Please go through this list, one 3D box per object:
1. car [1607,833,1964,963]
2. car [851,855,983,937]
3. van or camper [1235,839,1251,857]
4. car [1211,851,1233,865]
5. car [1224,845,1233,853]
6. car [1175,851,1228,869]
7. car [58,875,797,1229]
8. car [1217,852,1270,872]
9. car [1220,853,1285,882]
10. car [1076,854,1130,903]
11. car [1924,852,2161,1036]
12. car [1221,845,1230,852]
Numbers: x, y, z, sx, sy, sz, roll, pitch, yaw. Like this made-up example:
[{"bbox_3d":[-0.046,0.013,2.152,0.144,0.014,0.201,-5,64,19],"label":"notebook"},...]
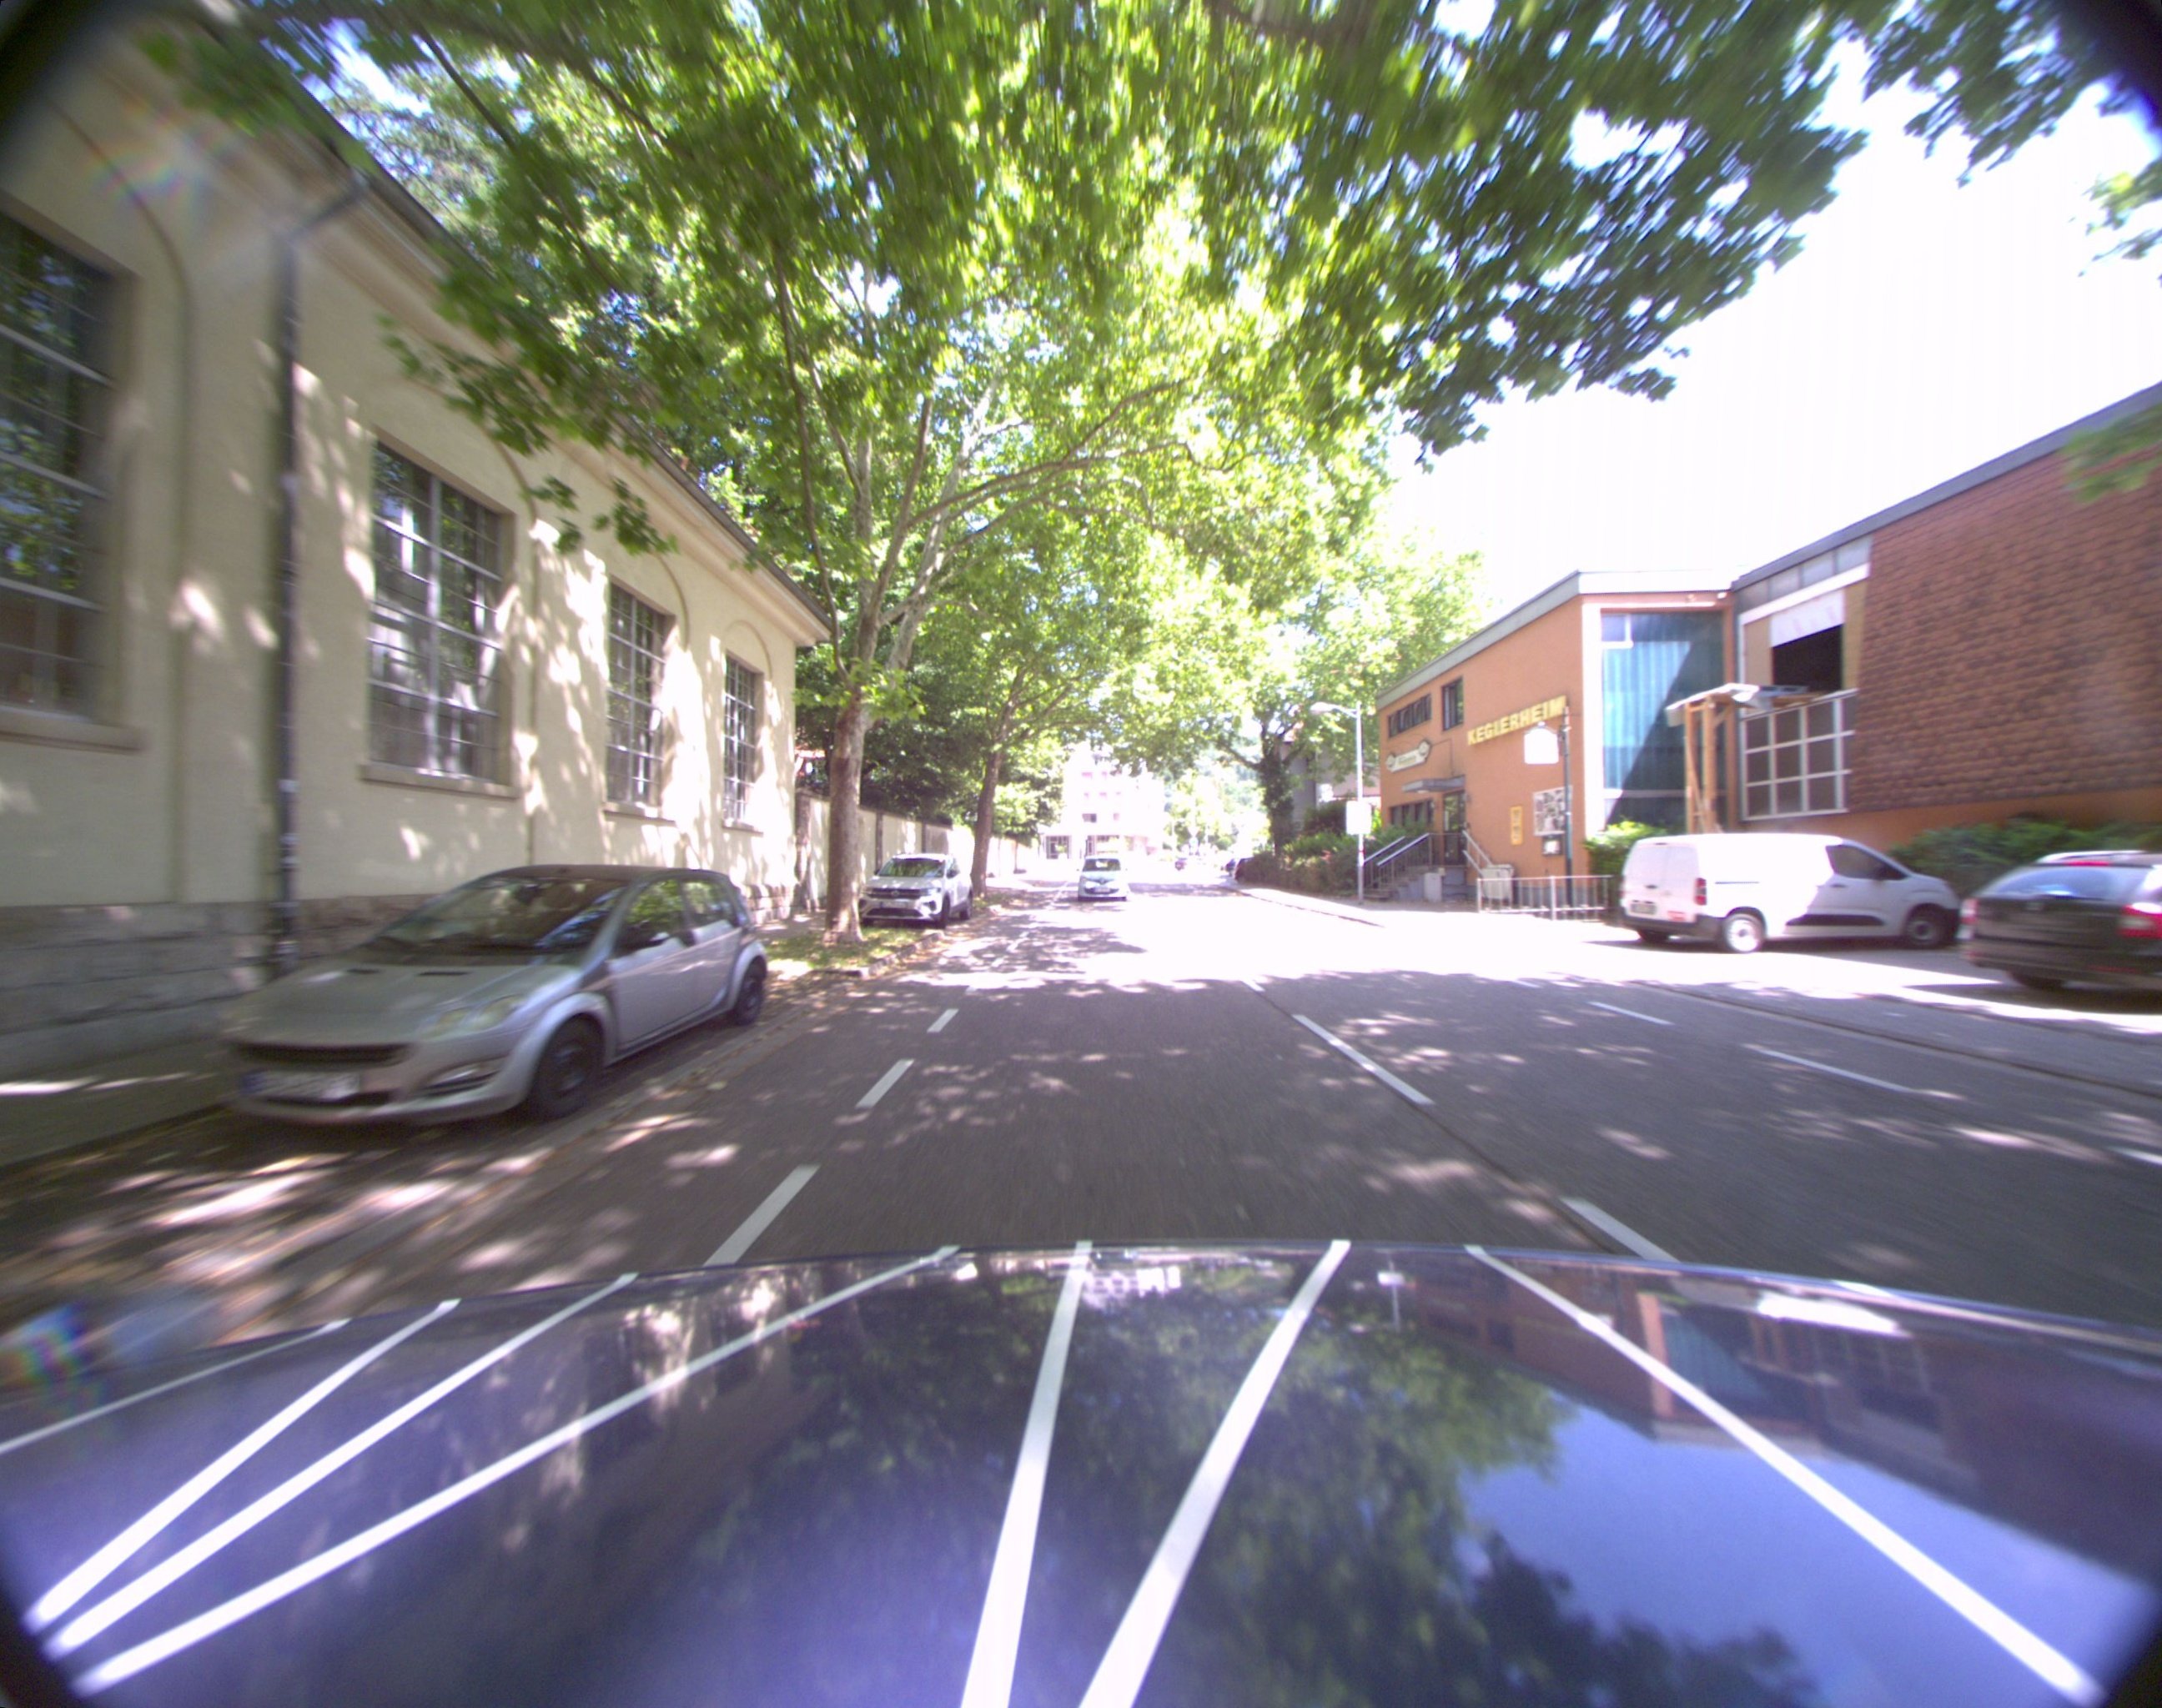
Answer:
[{"bbox_3d":[10.992,0.627,12.067,3.998,1.782,1.868,-2,1,-2],"label":"car"},{"bbox_3d":[-3.516,0.838,17.248,1.745,1.548,4.781,2,0,2],"label":"car"},{"bbox_3d":[24.647,-0.909,115.607,2.271,2.623,5.890,-3,0,11],"label":"van or camper"},{"bbox_3d":[14.729,0.420,79.331,1.607,1.443,4.000,0,1,1],"label":"car"},{"bbox_3d":[32.994,-1.181,169.977,1.997,1.657,4.002,0,2,10],"label":"car"},{"bbox_3d":[10.382,0.508,65.859,4.388,1.418,1.775,0,1,3],"label":"car"},{"bbox_3d":[-3.801,0.957,5.660,1.625,1.431,4.432,1,0,1],"label":"car"},{"bbox_3d":[12.135,0.600,56.824,3.786,1.452,1.725,0,1,11],"label":"car"},{"bbox_3d":[9.282,0.706,41.319,3.387,1.538,1.725,0,1,11],"label":"car"},{"bbox_3d":[0.760,0.790,26.032,1.659,1.516,4.163,-1,0,2],"label":"car"},{"bbox_3d":[11.346,0.763,7.534,3.998,1.506,1.868,-2,1,-2],"label":"car"},{"bbox_3d":[34.209,-1.364,180.447,1.997,1.657,4.002,0,2,10],"label":"car"}]
